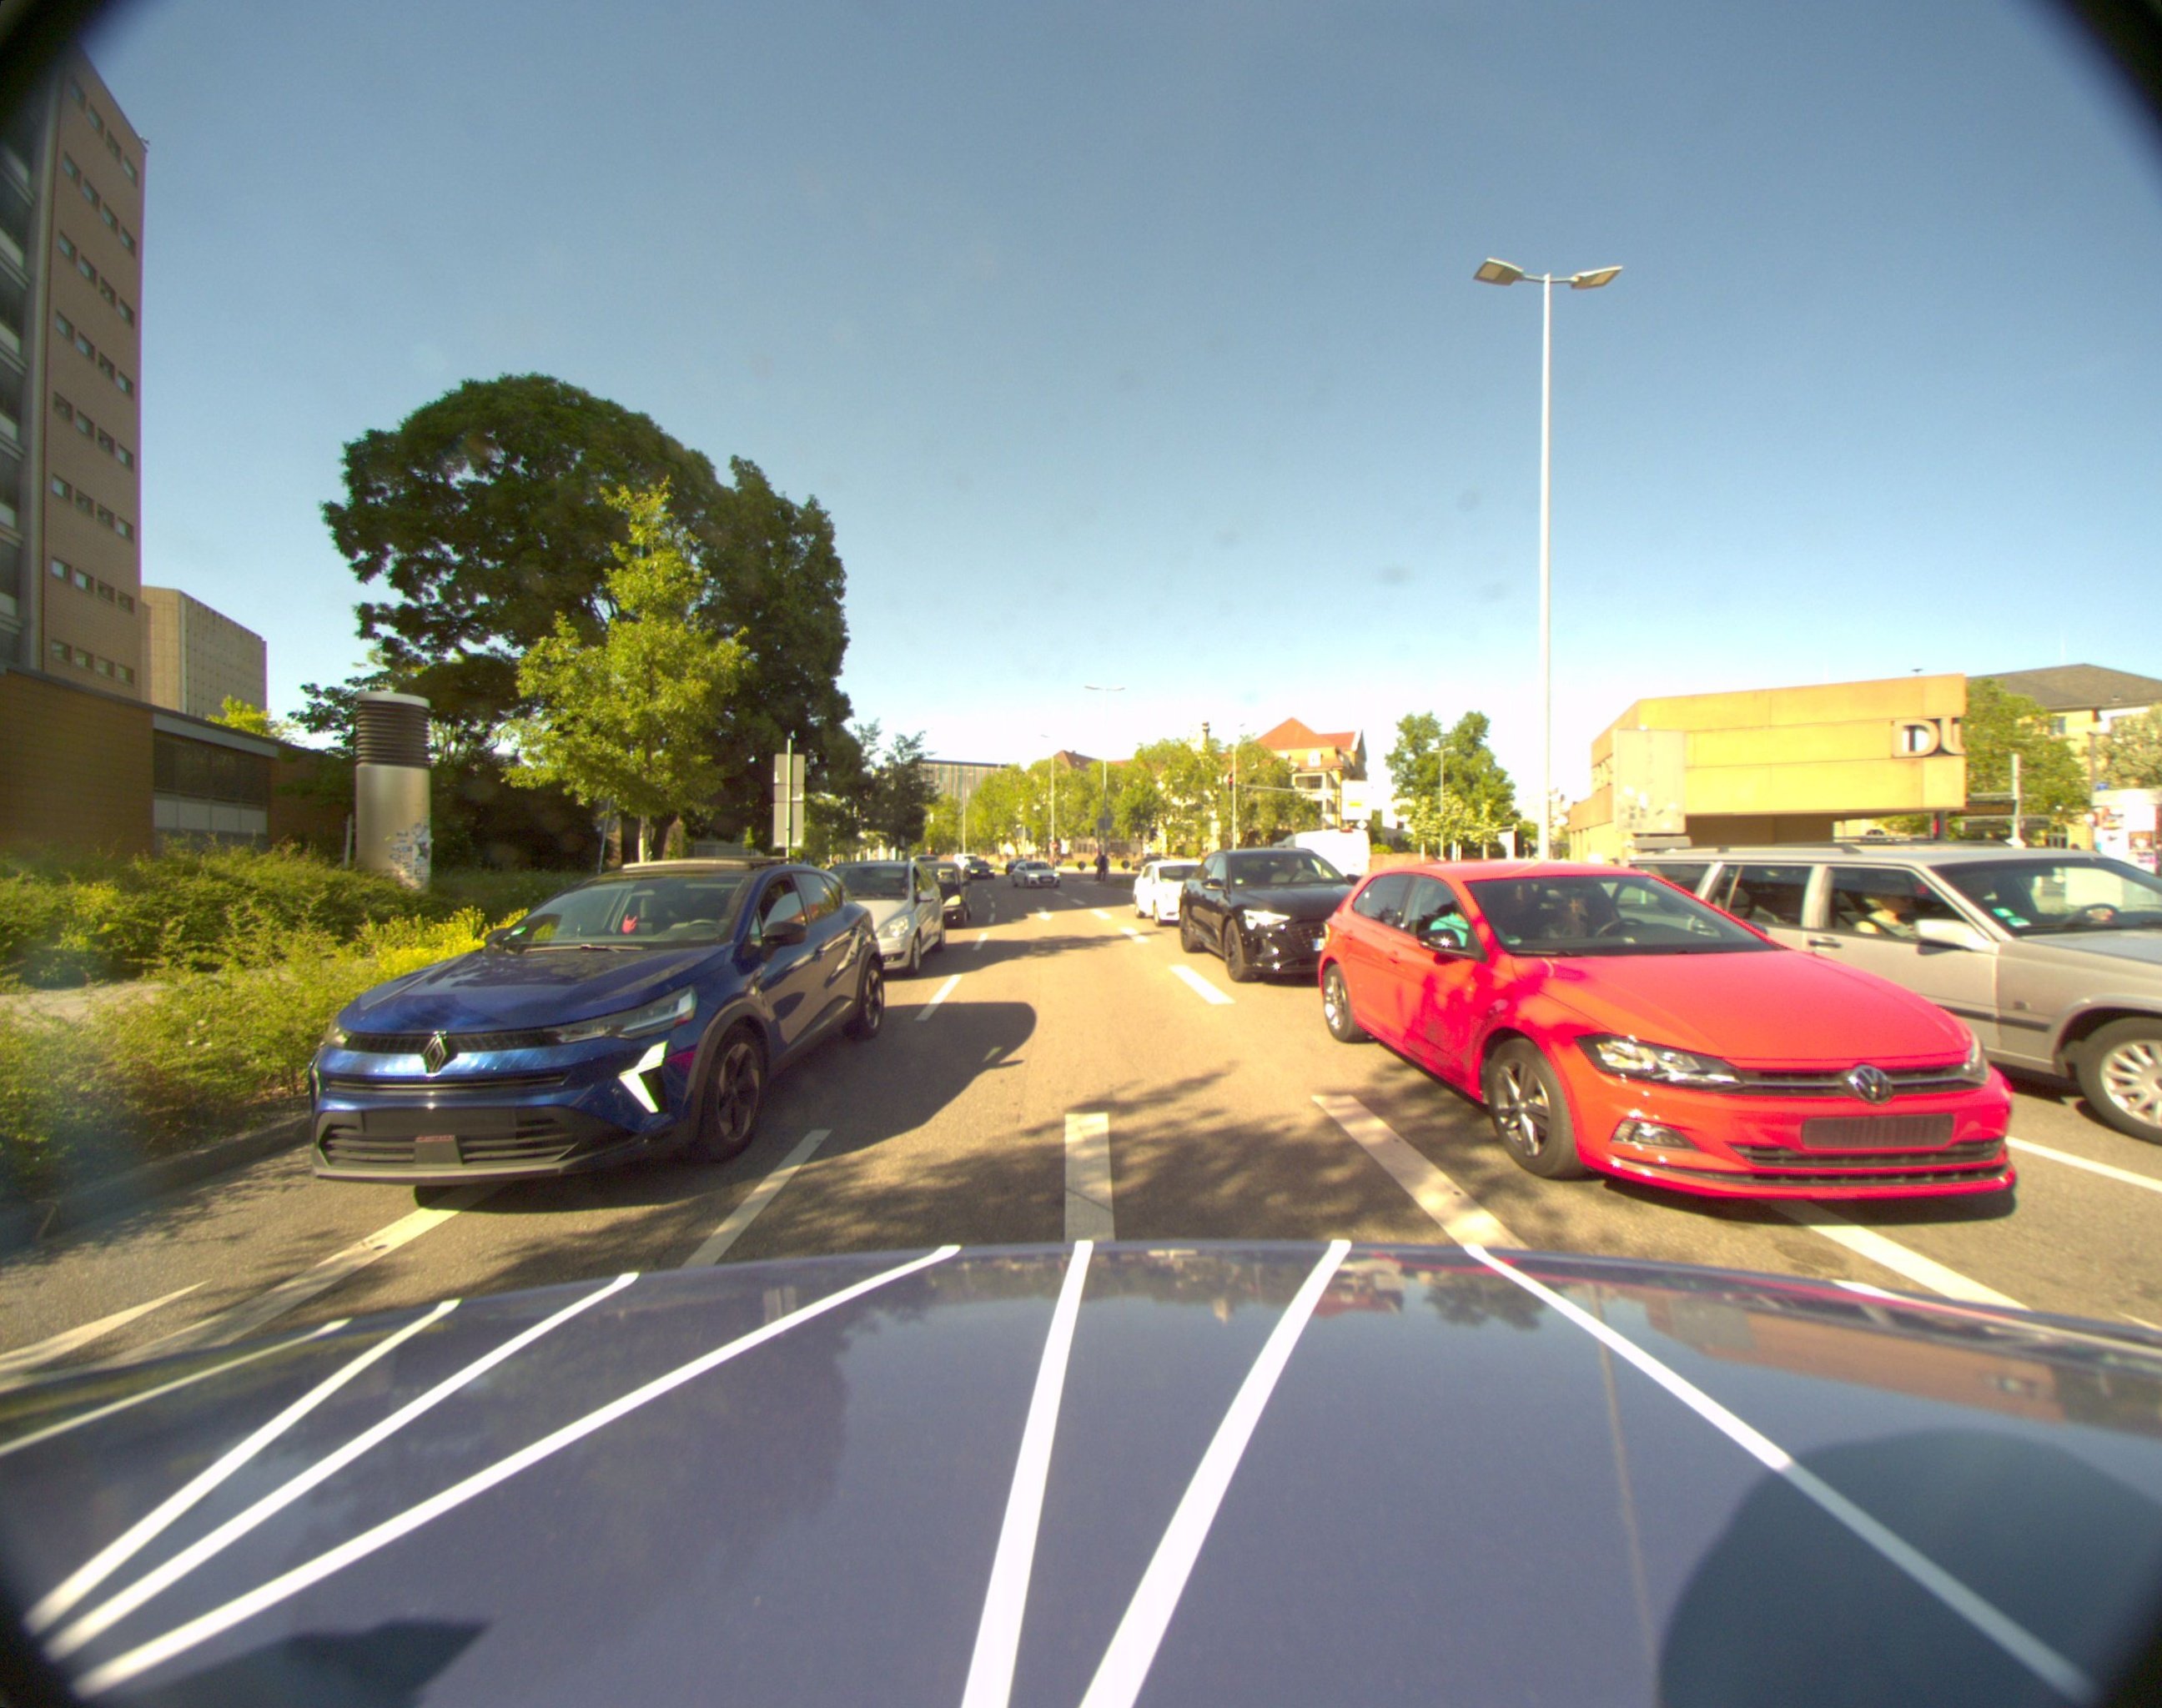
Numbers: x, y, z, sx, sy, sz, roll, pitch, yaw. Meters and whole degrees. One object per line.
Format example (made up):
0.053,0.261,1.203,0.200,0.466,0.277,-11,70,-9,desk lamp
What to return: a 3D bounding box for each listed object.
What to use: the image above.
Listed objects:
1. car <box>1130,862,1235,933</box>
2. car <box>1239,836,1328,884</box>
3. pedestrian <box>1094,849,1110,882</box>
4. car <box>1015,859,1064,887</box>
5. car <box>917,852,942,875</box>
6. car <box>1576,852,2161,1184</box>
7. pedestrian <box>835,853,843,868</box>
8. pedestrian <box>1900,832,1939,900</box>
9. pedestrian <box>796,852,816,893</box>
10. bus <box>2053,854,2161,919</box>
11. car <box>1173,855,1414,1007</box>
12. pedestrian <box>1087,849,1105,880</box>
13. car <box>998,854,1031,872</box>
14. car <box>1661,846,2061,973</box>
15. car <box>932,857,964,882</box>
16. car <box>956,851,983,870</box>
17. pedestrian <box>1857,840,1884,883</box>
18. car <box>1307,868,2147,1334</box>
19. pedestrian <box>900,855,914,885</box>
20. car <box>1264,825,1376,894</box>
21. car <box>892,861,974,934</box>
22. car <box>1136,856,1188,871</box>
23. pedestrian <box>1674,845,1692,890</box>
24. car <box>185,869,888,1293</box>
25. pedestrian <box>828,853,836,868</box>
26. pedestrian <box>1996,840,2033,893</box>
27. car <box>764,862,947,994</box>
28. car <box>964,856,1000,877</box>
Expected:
2.255,0.922,17.780,1.575,1.410,3.711,-2,0,-6,car
10.557,0.303,40.227,2.117,2.300,6.209,-1,0,-10,car
1.200,0.635,43.164,0.756,1.814,0.776,-2,1,-5,pedestrian
-2.242,0.951,40.062,1.754,1.370,3.569,-1,0,-17,car
-13.111,0.801,65.707,1.829,1.842,3.747,0,0,-16,car
5.761,0.771,4.998,1.713,1.464,4.752,-3,-1,-2,car
-30.634,0.809,96.317,0.822,1.906,0.770,-2,1,-22,pedestrian
22.821,0.321,20.680,0.647,1.778,0.666,-3,1,-39,pedestrian
-11.110,0.739,30.699,0.693,1.594,0.661,0,0,-14,pedestrian
21.634,0.627,14.108,1.646,1.234,4.181,-1,0,-5,bus
2.565,0.828,10.392,1.859,1.606,4.452,0,0,-3,car
0.878,0.611,44.562,0.887,1.814,0.776,-2,1,-7,pedestrian
-6.084,0.818,69.148,1.599,1.596,3.064,0,0,-36,car
11.843,0.722,12.013,1.870,1.649,4.069,0,0,-10,car
-8.803,0.999,50.136,1.754,1.467,3.569,-2,1,-15,car
-12.587,0.719,85.551,1.790,2.002,4.223,-2,1,-26,car
33.216,0.321,31.968,0.645,1.766,0.468,-1,1,-4,pedestrian
2.790,0.878,4.521,1.674,1.464,3.853,-2,0,-1,car
-9.585,0.870,41.915,0.662,1.594,0.692,0,0,-20,pedestrian
9.348,0.215,30.304,2.000,2.493,5.414,0,0,-9,car
-3.566,0.983,18.798,1.651,1.601,3.488,0,0,-6,car
6.387,0.734,59.874,3.994,1.197,1.586,0,0,9,car
24.016,0.546,30.310,0.467,1.766,0.647,0,1,29,pedestrian
-2.689,0.947,5.071,1.705,1.596,4.084,-1,0,0,car
-31.467,0.840,96.012,0.822,1.906,0.770,-2,1,-22,pedestrian
31.427,0.410,25.583,0.644,1.766,0.469,0,1,21,pedestrian
-3.187,0.951,11.582,1.786,1.615,4.042,0,0,-3,car
-7.532,0.952,57.379,1.883,1.472,3.993,-2,0,-19,car
